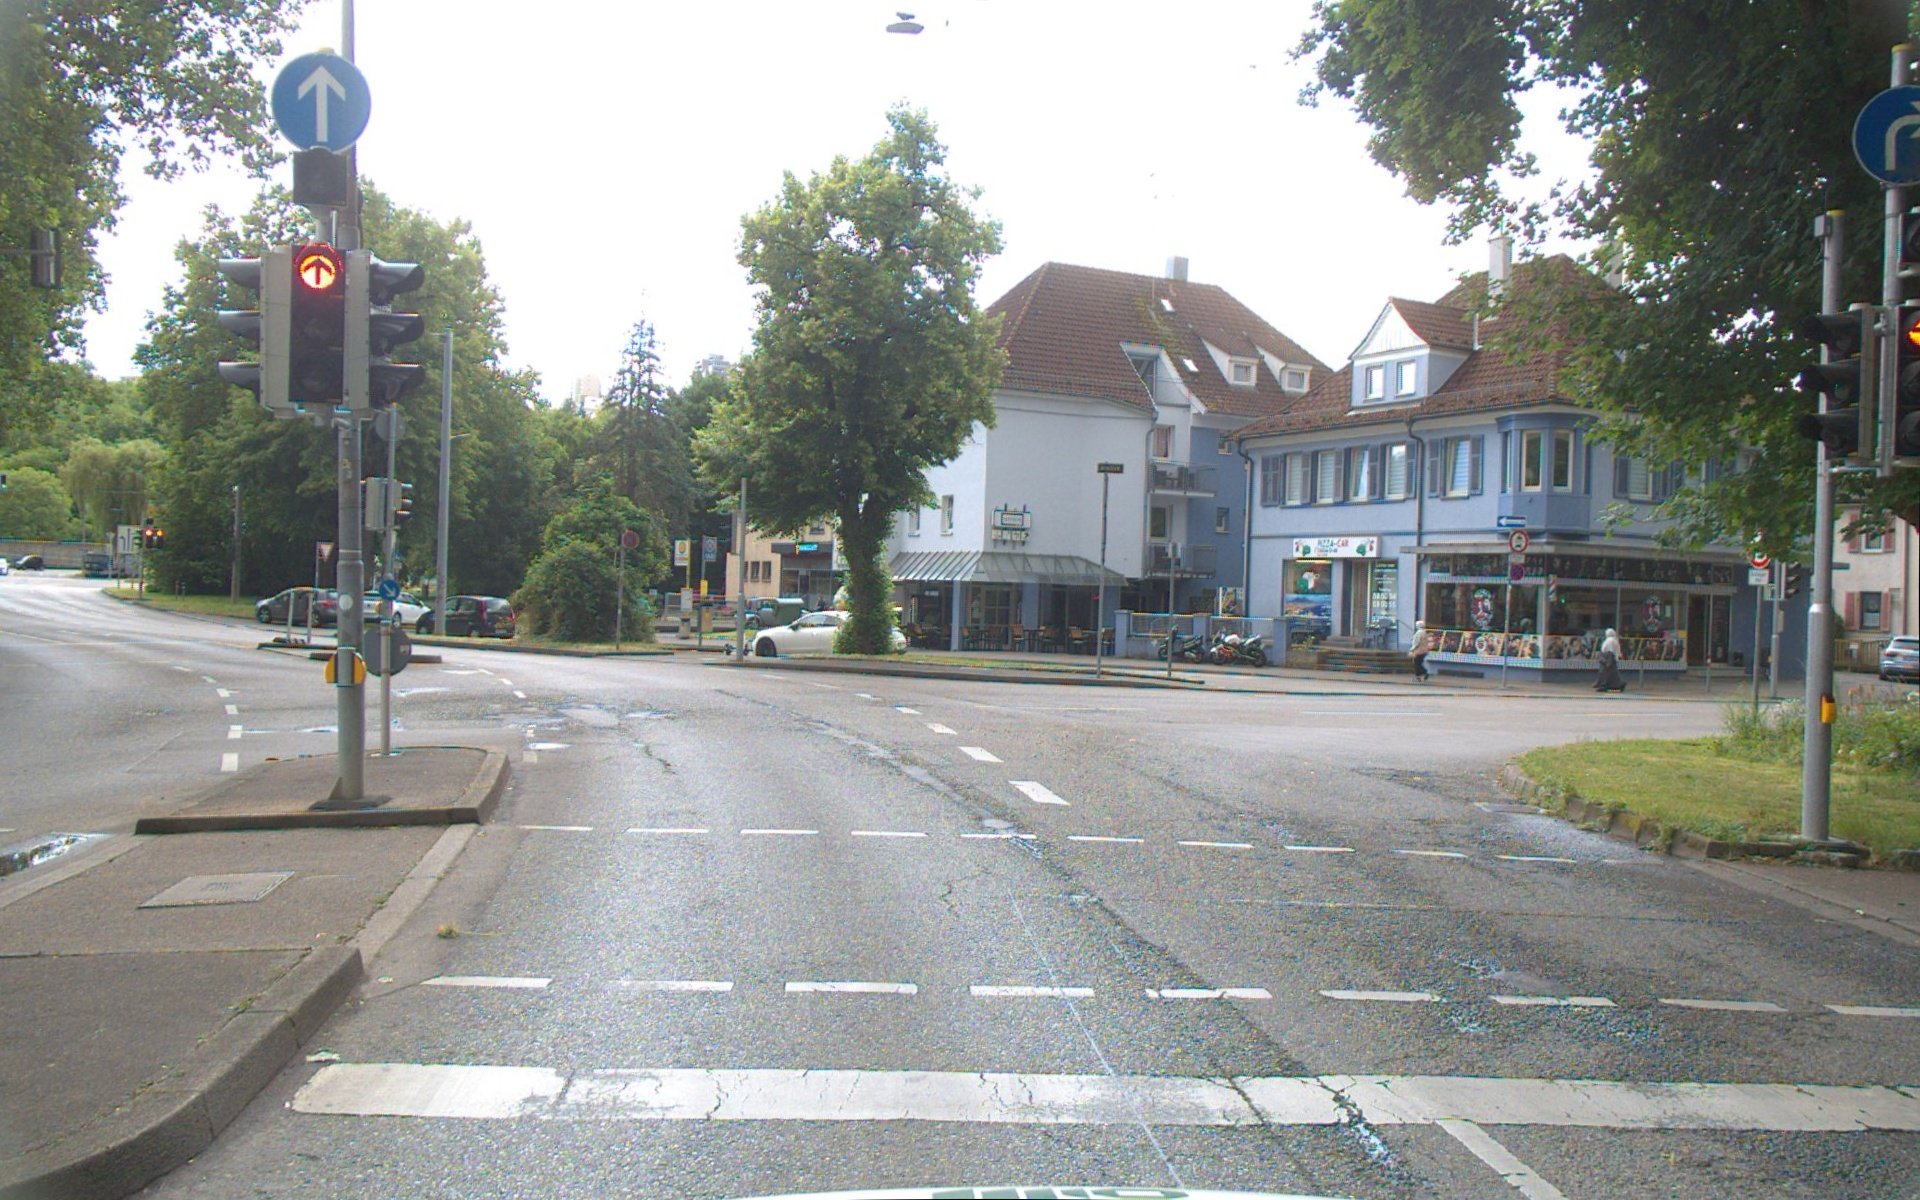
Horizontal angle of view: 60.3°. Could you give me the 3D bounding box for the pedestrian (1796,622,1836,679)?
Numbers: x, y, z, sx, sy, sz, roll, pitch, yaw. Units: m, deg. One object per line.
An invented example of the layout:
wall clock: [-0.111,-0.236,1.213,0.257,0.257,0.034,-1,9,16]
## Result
pedestrian: [23.962,1.412,46.308,0.659,1.587,0.743,1,-1,-15]

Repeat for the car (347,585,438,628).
car: [-22.730,0.262,66.404,1.821,1.668,3.757,1,0,10]

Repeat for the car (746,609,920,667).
car: [-3.531,1.025,45.682,4.618,1.435,1.896,1,0,35]

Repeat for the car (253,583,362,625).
car: [-25.005,0.156,63.421,3.695,1.491,1.622,1,0,18]

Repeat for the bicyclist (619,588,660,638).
bicyclist: [-10.851,0.435,55.976,0.969,1.680,0.914,1,0,37]

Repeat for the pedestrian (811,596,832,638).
pedestrian: [-6.792,0.830,80.822,0.823,2.049,1.052,1,0,-15]

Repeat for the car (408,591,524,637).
car: [-15.912,0.451,53.262,3.252,1.376,1.778,1,0,27]

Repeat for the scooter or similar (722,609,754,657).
scooter or similar: [-5.699,0.833,42.508,0.433,1.195,1.439,1,0,8]

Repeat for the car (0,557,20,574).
car: [-88.852,-3.208,153.799,2.970,1.442,1.492,0,-2,40]

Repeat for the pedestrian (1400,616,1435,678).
pedestrian: [11.991,1.232,43.361,0.717,1.587,0.767,0,-1,30]

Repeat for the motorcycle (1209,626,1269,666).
motorcycle: [8.169,1.344,48.459,1.595,1.107,0.625,1,0,32]

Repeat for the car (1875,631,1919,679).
car: [29.700,1.694,51.688,1.849,1.415,3.608,1,0,28]

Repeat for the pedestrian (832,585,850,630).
pedestrian: [-4.264,0.276,59.198,0.531,1.587,0.468,0,-1,13]

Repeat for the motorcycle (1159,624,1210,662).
motorcycle: [6.816,1.292,50.209,1.430,1.107,0.522,1,0,35]

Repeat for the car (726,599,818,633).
car: [-8.578,0.738,75.479,3.880,1.467,1.742,1,0,-21]

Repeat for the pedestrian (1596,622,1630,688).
pedestrian: [16.114,1.355,40.803,0.681,1.587,0.665,0,-1,30]
